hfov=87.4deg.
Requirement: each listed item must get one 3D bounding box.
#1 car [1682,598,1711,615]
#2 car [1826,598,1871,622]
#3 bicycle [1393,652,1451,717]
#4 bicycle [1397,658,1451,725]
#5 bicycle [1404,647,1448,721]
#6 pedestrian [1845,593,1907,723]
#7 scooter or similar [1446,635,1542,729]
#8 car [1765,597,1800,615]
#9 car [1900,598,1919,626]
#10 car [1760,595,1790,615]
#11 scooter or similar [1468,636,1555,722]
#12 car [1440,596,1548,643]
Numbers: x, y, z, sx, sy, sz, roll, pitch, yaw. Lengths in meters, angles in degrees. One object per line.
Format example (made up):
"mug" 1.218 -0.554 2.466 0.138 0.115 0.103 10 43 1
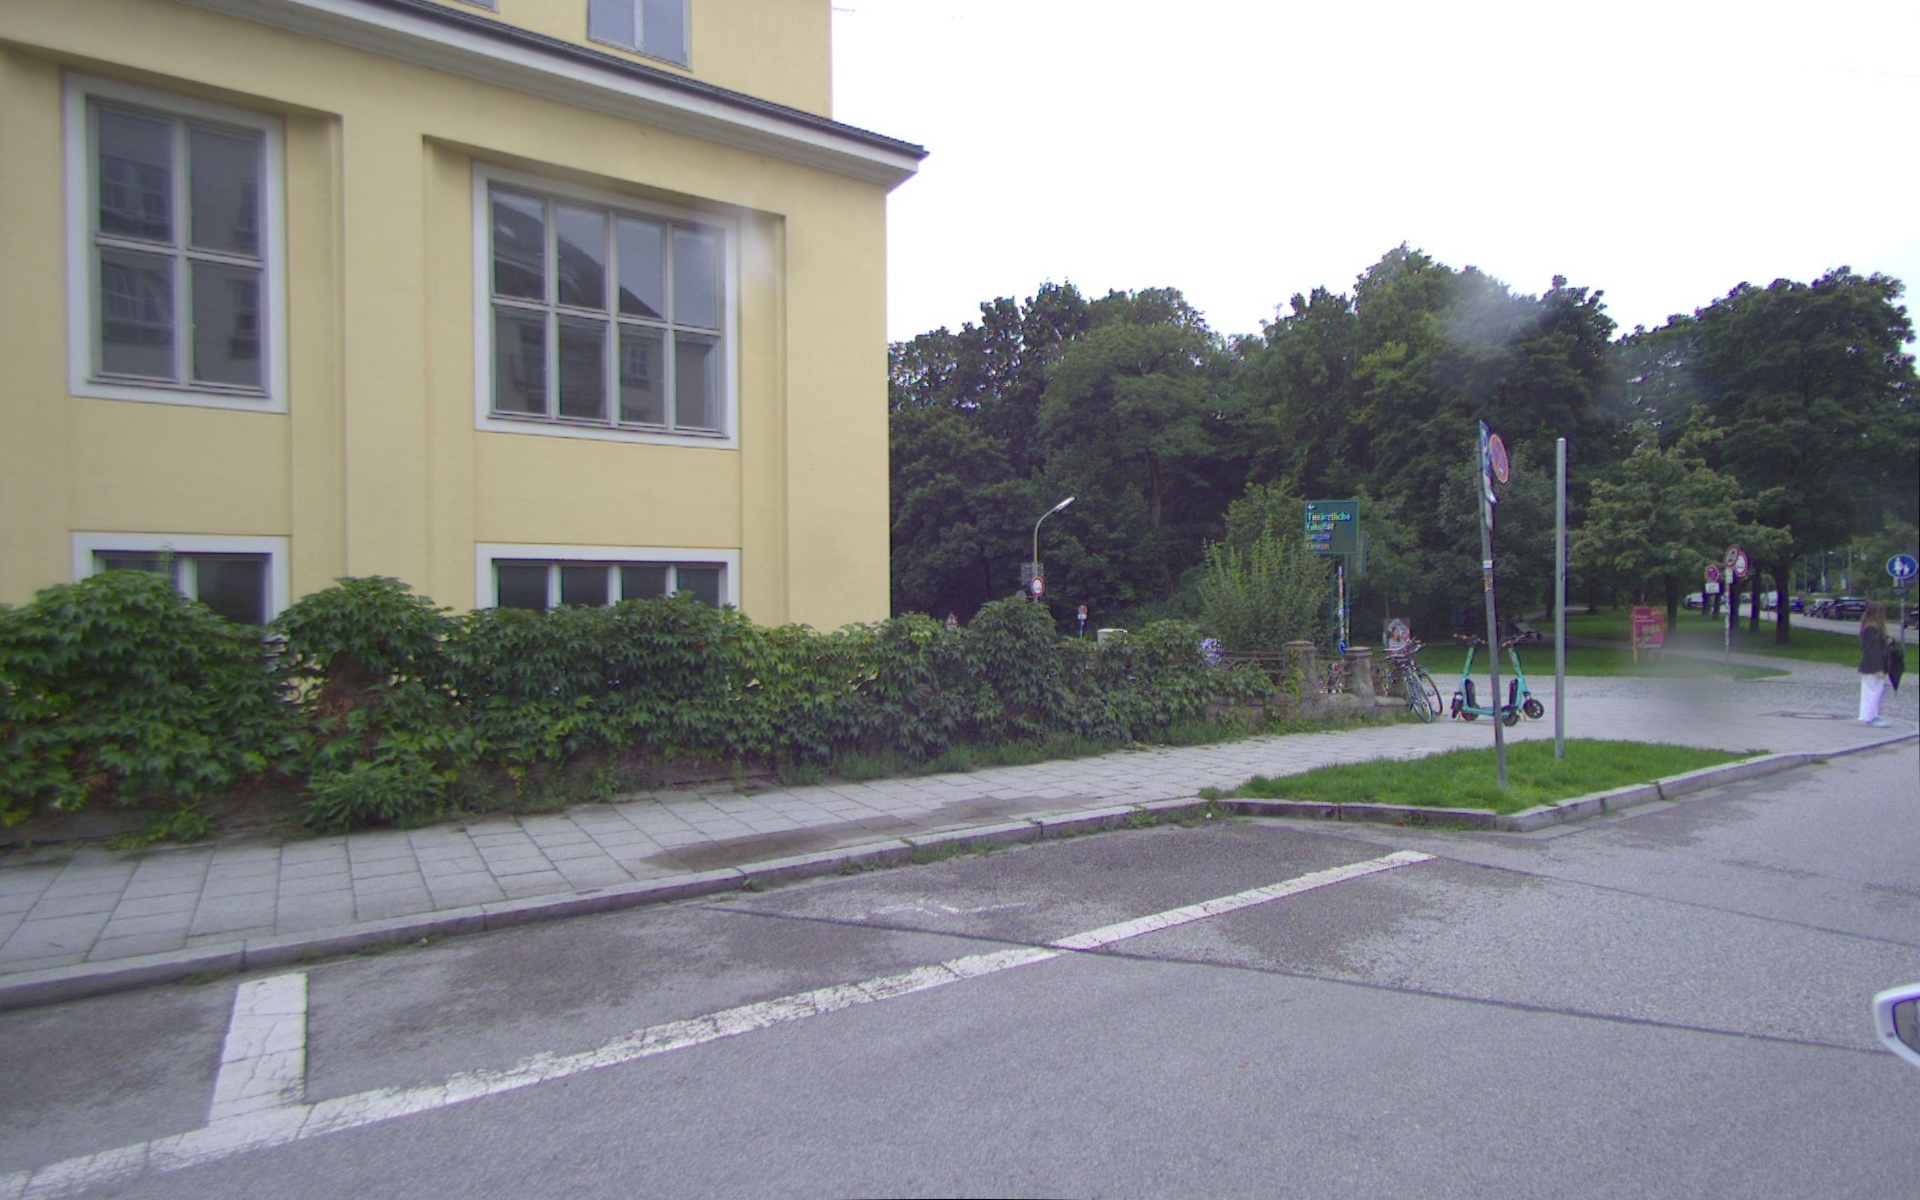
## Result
"car" 73.359 0.671 100.105 1.966 1.622 4.455 -1 -1 32
"car" 64.810 0.740 73.297 1.767 1.702 3.991 -1 -1 31
"bicycle" 7.602 1.375 16.563 0.406 0.990 1.276 -1 -1 4
"bicycle" 6.810 1.321 14.730 0.428 0.905 1.325 -1 -2 38
"bicycle" 7.464 1.324 16.118 0.295 1.126 1.192 0 -1 8
"pedestrian" 12.496 0.776 13.701 0.662 1.719 0.537 0 -2 -45
"scooter or similar" 7.602 1.140 14.350 0.388 1.260 1.258 2 -1 -21
"car" 78.868 0.586 96.344 1.965 1.622 4.244 -1 -1 32
"car" 54.175 0.649 56.267 1.625 1.579 3.548 -1 -1 34
"car" 84.161 0.514 103.759 2.039 1.992 4.960 -1 -1 35
"scooter or similar" 8.154 1.162 14.864 1.032 1.228 0.439 1 -1 -1
"car" 24.190 0.874 45.553 3.922 2.040 1.787 -1 -1 -2
